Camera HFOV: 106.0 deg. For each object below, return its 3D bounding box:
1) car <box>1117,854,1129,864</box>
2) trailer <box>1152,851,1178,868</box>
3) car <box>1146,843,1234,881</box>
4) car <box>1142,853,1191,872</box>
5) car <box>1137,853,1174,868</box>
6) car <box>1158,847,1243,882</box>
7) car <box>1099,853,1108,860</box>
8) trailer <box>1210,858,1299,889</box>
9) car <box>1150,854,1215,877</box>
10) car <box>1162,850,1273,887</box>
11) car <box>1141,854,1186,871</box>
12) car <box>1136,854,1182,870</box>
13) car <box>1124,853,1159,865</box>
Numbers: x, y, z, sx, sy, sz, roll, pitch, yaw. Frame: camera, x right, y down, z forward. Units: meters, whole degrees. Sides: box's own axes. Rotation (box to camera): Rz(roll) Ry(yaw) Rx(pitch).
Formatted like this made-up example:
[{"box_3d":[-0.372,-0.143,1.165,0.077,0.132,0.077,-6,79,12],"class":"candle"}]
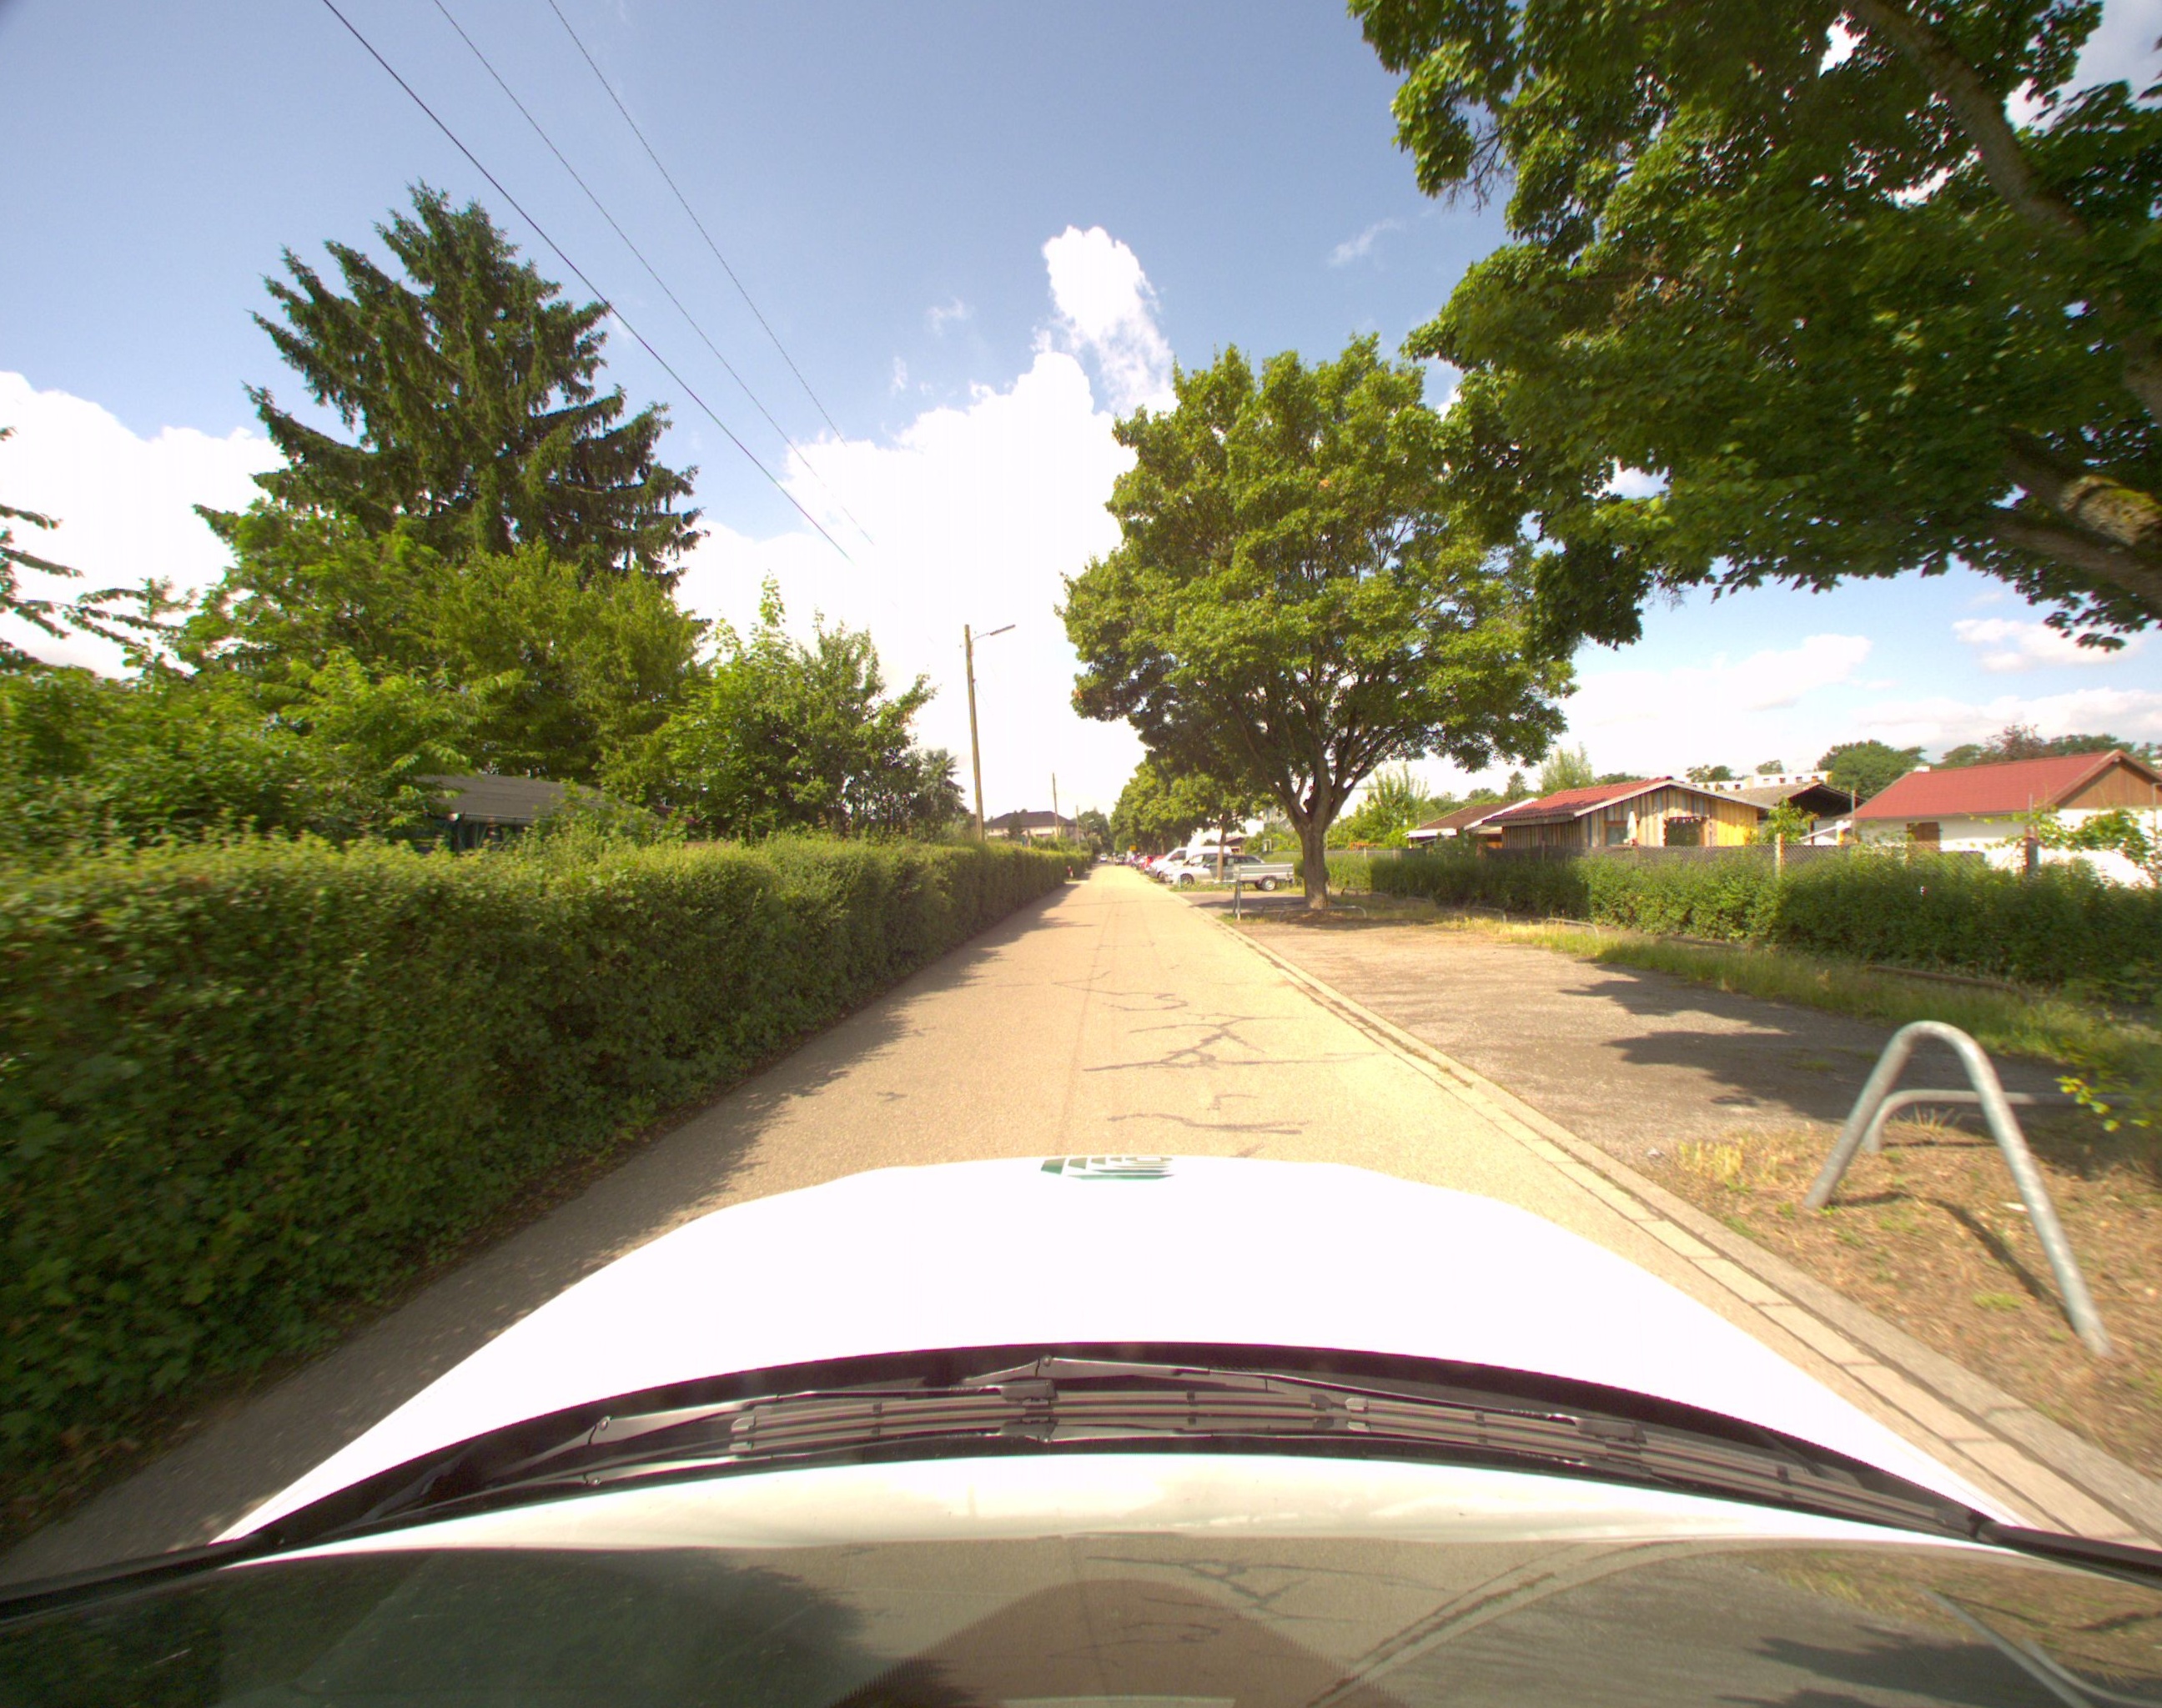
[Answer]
[{"box_3d":[6.693,0.797,130.291,1.654,1.506,4.008,0,-1,7],"class":"car"},{"box_3d":[8.562,0.548,82.703,2.443,1.720,1.517,0,0,-2],"class":"trailer"},{"box_3d":[6.109,0.438,45.858,4.619,1.886,2.111,-3,0,0],"class":"car"},{"box_3d":[7.167,0.714,68.244,3.967,1.519,1.857,0,-1,5],"class":"car"},{"box_3d":[7.797,0.656,85.613,3.713,1.540,1.849,0,-1,-2],"class":"car"},{"box_3d":[6.282,0.547,43.106,4.227,1.592,2.001,-3,0,2],"class":"car"},{"box_3d":[5.535,0.627,198.929,1.894,1.814,4.005,0,-1,5],"class":"car"},{"box_3d":[6.638,0.747,31.396,3.088,1.142,2.001,0,-1,2],"class":"trailer"},{"box_3d":[6.635,0.760,53.720,4.166,1.504,1.879,0,-1,3],"class":"car"},{"box_3d":[5.997,0.622,36.151,4.565,1.466,1.999,-1,0,-2],"class":"car"},{"box_3d":[7.244,0.750,71.759,3.892,1.424,1.960,0,-1,4],"class":"car"},{"box_3d":[7.156,0.709,74.932,4.053,1.455,1.869,0,-1,-1],"class":"car"},{"box_3d":[7.818,0.665,105.446,4.533,1.578,1.809,0,-1,0],"class":"car"}]
